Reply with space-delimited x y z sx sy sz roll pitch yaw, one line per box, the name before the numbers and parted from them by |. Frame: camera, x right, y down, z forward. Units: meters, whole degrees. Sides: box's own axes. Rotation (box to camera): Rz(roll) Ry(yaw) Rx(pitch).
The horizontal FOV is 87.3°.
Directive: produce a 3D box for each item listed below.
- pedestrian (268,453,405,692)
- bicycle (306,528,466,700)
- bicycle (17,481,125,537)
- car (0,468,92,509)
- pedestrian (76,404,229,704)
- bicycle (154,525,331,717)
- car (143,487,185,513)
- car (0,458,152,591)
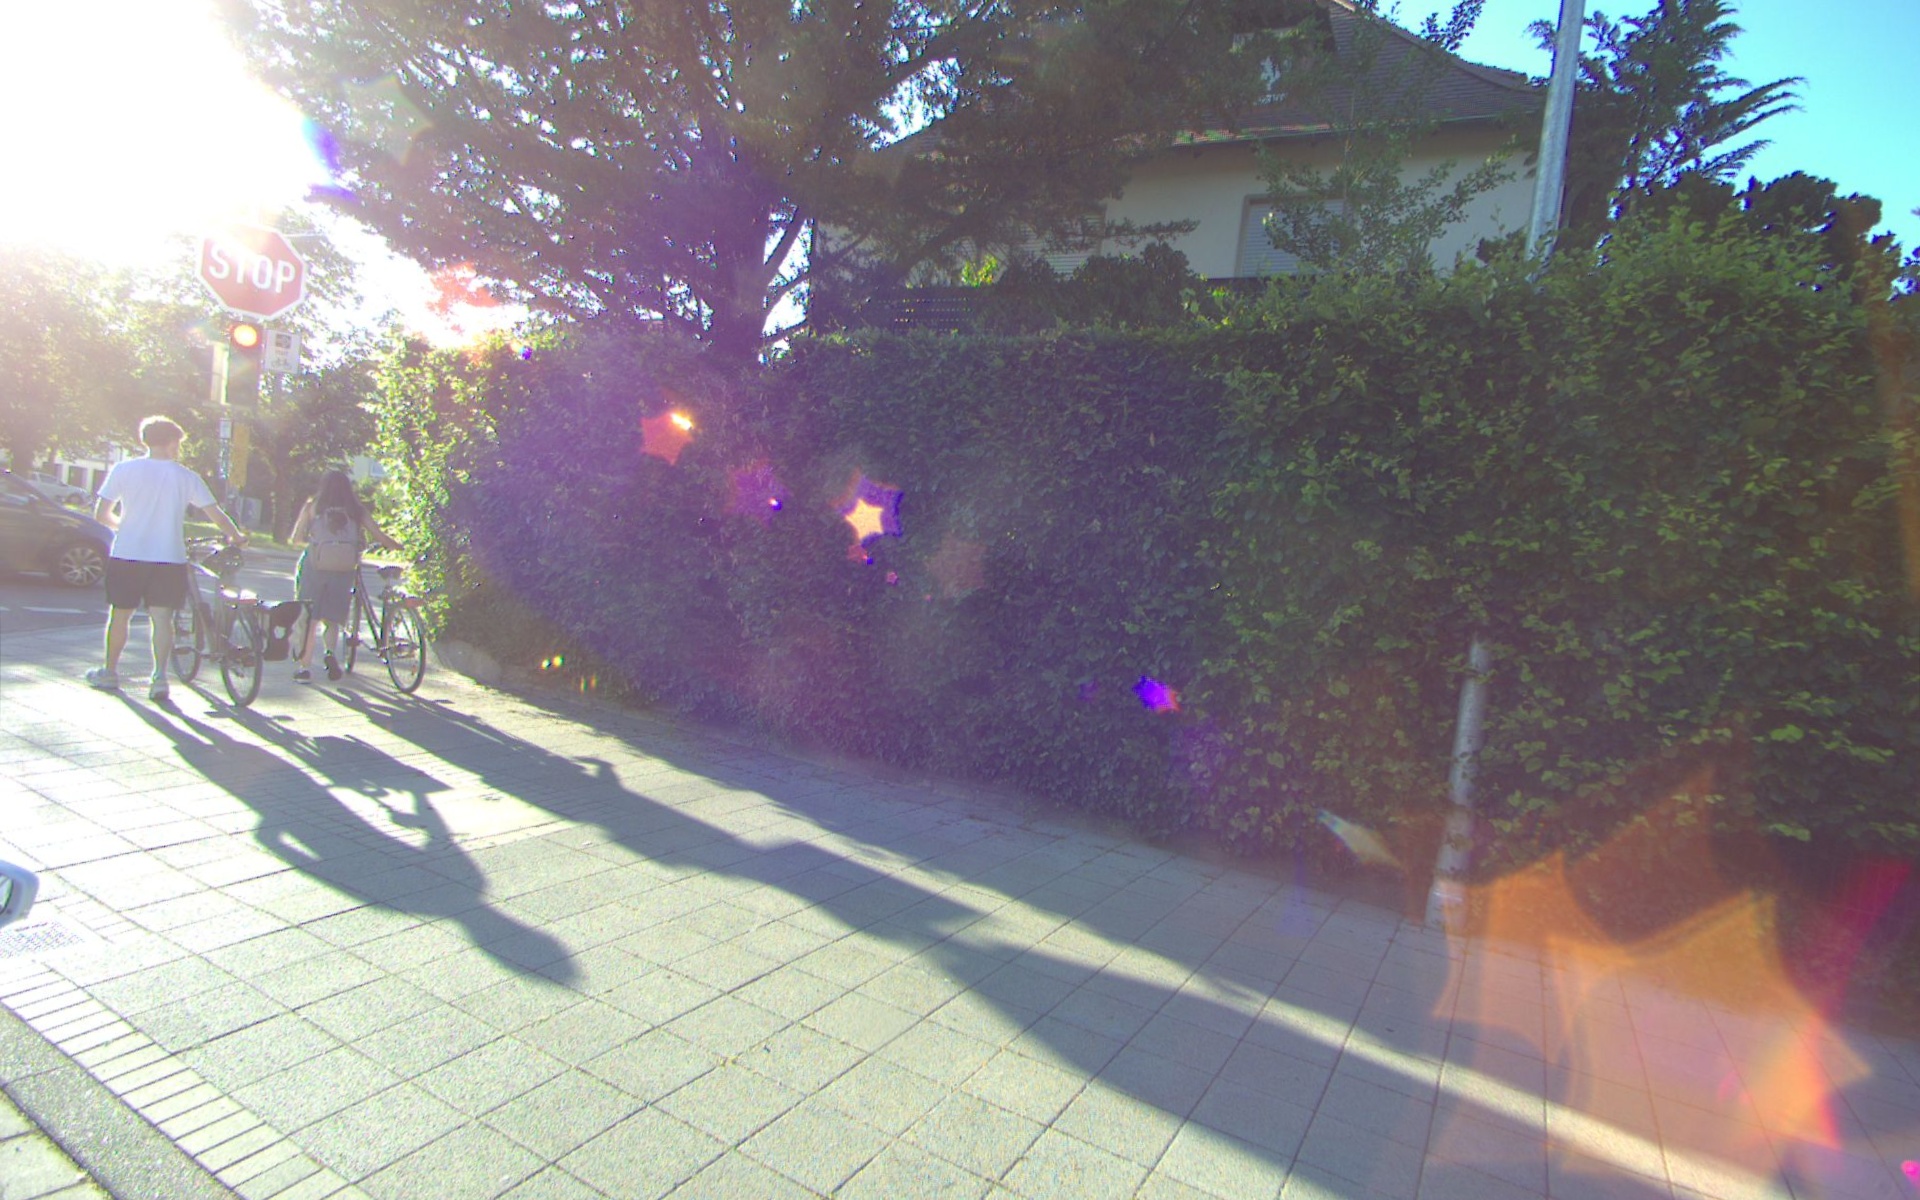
pedestrian | -4.823 -0.217 7.781 0.613 1.733 0.667 9 6 37
bicycle | -4.602 0.082 8.021 1.574 1.158 0.486 8 4 38
bicycle | -23.247 -2.359 26.349 0.609 1.146 1.956 8 1 32
car | -46.430 -5.635 50.573 1.569 1.445 3.854 7 0 26
pedestrian | -5.530 -0.319 6.879 0.870 1.892 0.668 10 6 43
bicycle | -5.133 0.106 7.150 1.763 1.112 0.486 8 4 37
car | -55.170 -6.914 69.741 1.651 1.435 3.514 7 0 -30
car | -12.253 -1.029 12.072 1.582 1.517 3.606 8 1 19
